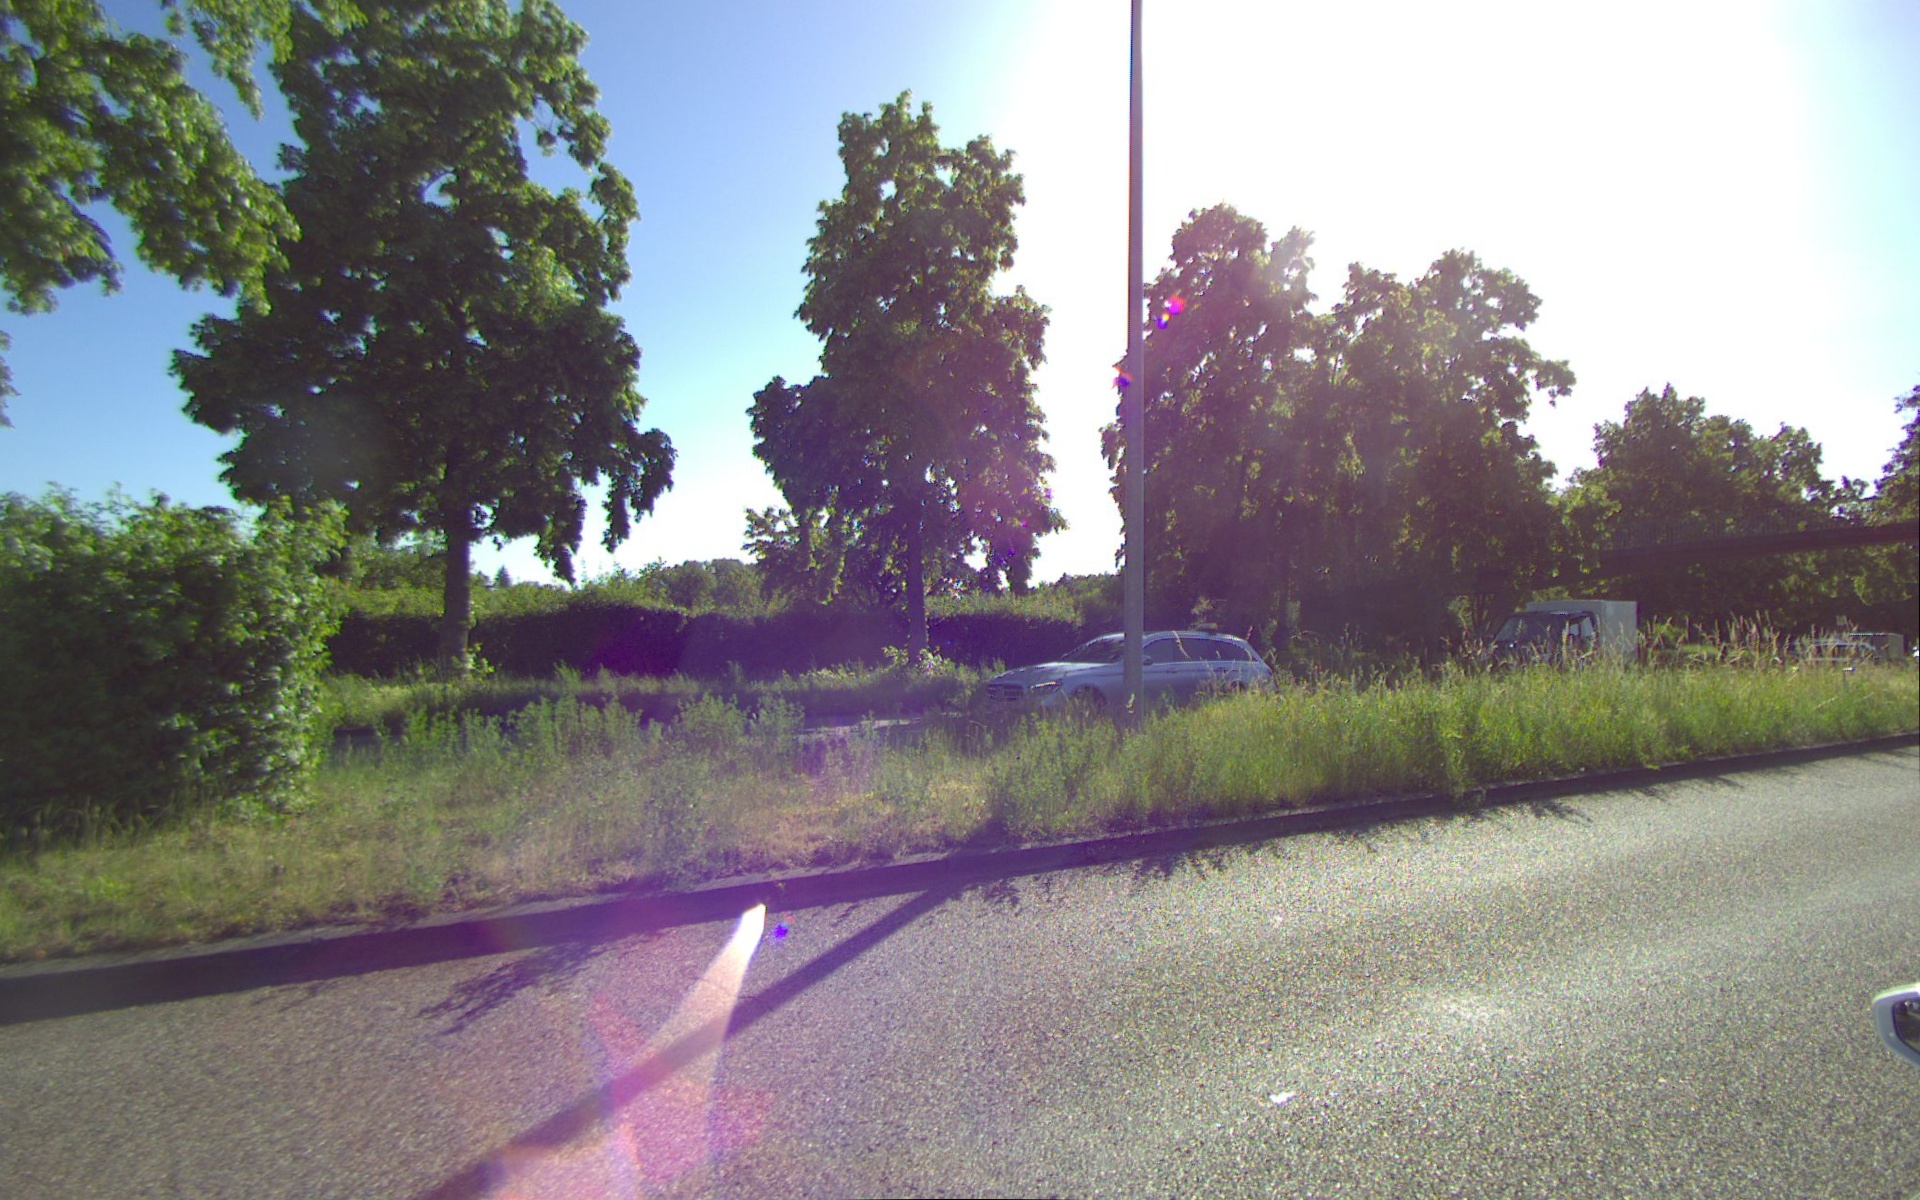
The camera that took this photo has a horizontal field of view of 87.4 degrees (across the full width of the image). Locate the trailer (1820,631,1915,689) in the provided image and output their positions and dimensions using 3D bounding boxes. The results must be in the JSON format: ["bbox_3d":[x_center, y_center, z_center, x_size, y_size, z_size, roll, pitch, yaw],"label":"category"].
[{"bbox_3d":[32.405,2.111,35.833,4.238,1.935,1.553,2,-1,-34],"label":"trailer"}]

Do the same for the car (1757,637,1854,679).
[{"bbox_3d":[34.456,2.361,40.921,4.321,1.627,1.846,2,-3,-33],"label":"car"}]

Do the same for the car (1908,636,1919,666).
[{"bbox_3d":[54.873,2.867,56.162,4.851,1.668,1.721,2,-3,-35],"label":"car"}]

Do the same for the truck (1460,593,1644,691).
[{"bbox_3d":[16.923,1.224,28.640,5.680,2.545,2.161,2,-4,-33],"label":"truck"}]

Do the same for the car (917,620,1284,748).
[{"bbox_3d":[2.207,1.170,14.962,5.511,1.627,1.847,2,-3,-31],"label":"car"}]

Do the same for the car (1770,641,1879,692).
[{"bbox_3d":[28.942,2.187,33.593,3.980,1.603,1.686,2,-2,-32],"label":"car"}]
